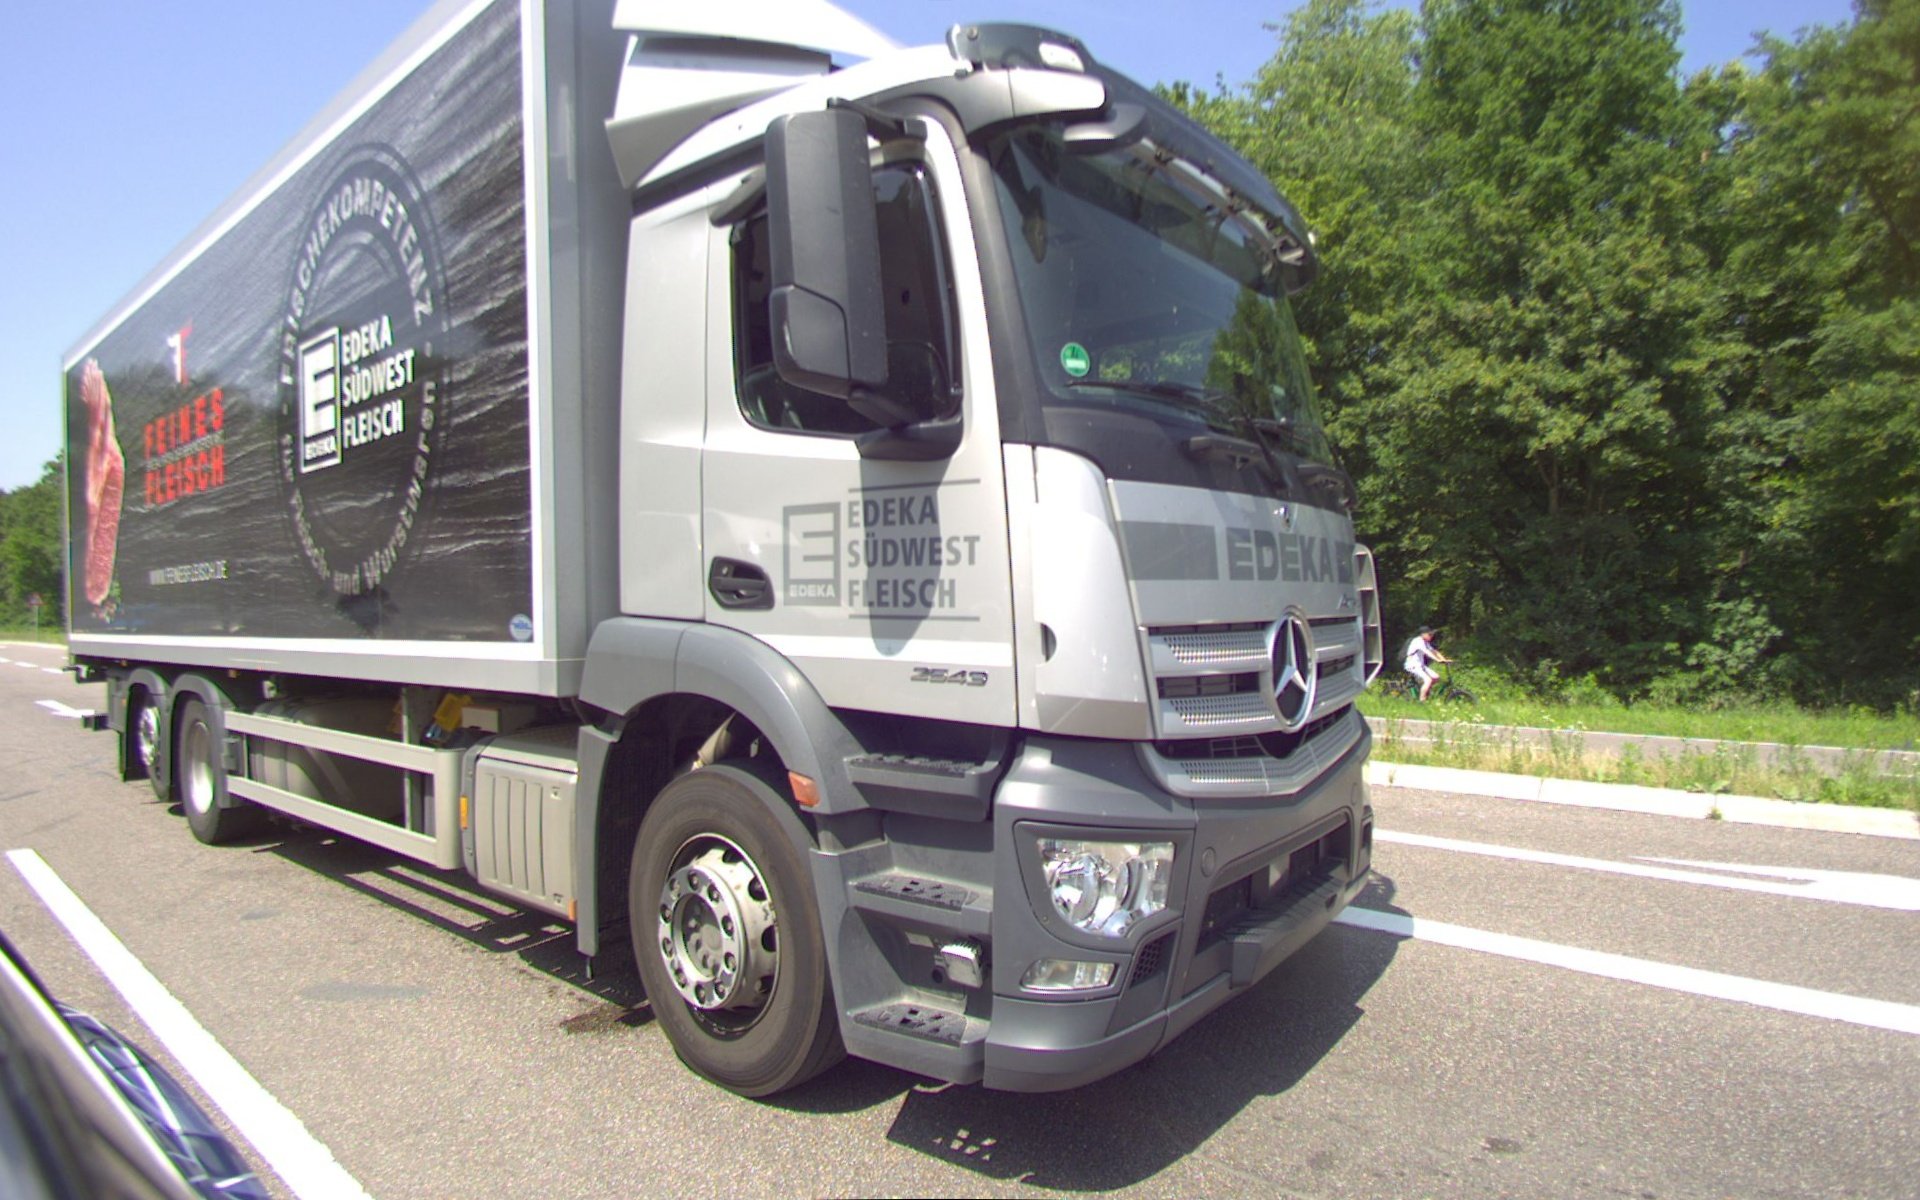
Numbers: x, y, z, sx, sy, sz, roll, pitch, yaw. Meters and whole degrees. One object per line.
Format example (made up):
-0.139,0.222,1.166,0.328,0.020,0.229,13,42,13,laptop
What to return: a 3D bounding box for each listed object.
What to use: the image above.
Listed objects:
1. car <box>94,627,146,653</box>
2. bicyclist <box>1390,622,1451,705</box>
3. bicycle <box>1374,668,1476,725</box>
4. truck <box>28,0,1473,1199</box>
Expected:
-55.697,2.617,67.105,3.997,1.564,1.973,-1,0,40,car
8.468,1.153,18.606,0.651,1.476,0.811,2,-2,-40,bicyclist
8.494,1.752,18.549,0.558,0.930,1.608,2,-2,-40,bicycle
-3.186,-0.515,6.605,11.309,3.914,2.719,-1,-1,39,truck
